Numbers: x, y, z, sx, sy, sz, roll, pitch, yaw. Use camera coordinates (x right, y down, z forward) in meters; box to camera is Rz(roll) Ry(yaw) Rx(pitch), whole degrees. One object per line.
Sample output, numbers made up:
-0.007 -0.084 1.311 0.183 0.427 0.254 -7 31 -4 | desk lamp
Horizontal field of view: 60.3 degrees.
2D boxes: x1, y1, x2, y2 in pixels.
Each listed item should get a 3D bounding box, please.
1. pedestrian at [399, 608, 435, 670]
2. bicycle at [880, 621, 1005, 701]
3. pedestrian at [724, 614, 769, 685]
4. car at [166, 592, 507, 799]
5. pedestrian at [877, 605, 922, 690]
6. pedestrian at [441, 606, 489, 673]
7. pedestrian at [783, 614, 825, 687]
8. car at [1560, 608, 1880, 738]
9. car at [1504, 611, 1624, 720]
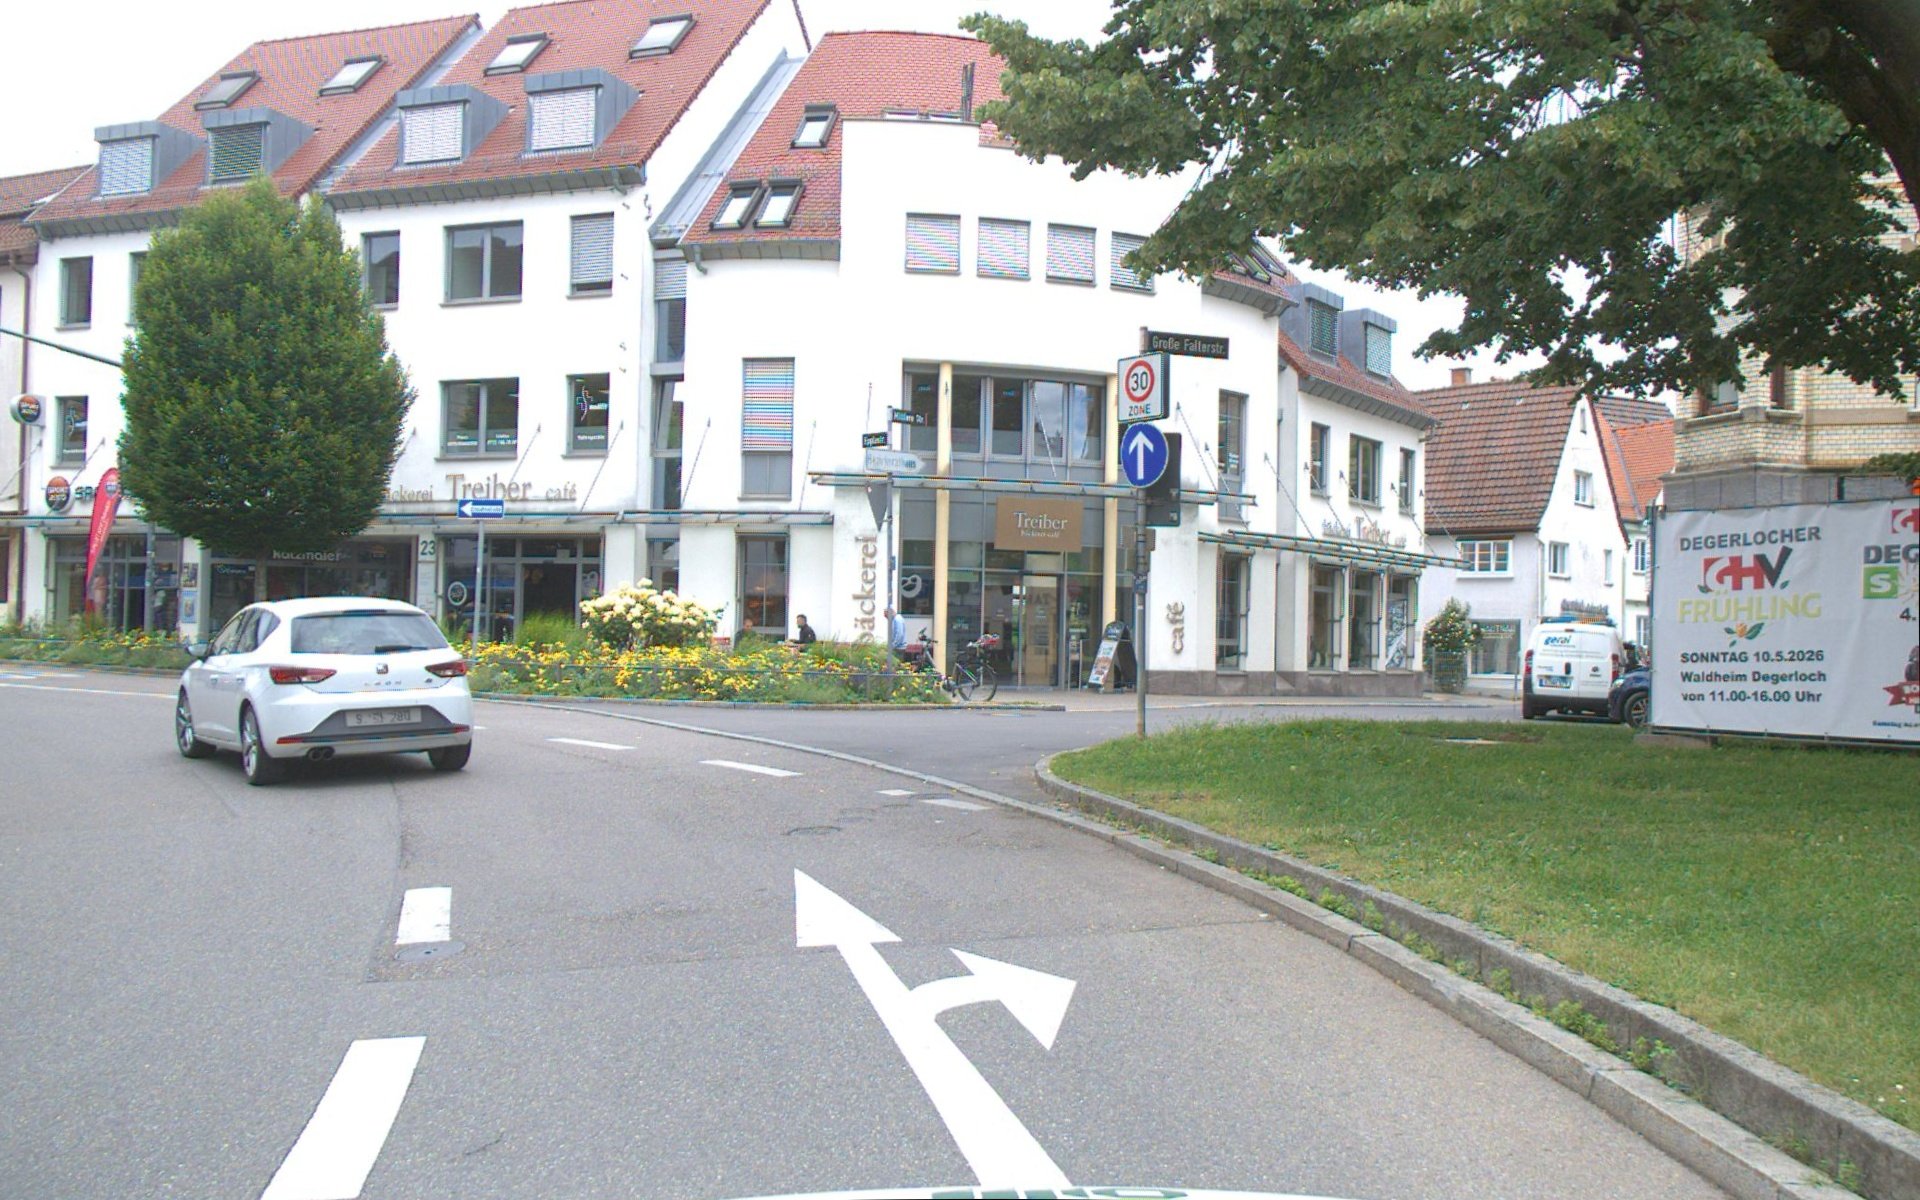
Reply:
-11.389 0.810 34.681 0.480 1.293 0.502 1 -1 21 | pedestrian
-0.298 1.004 27.734 1.933 1.261 0.744 1 0 20 | bicycle
-4.135 0.956 32.099 0.685 1.355 0.685 1 -1 8 | pedestrian
-5.582 0.718 14.508 1.829 1.459 3.950 1 1 -36 | car
-1.130 0.883 30.908 0.685 1.552 0.868 1 -1 8 | pedestrian
-10.233 0.820 34.192 0.555 1.341 0.764 1 -3 21 | pedestrian
-3.008 0.962 31.852 0.641 1.365 0.696 1 -1 8 | pedestrian
11.284 1.048 24.772 1.841 1.734 3.971 4 -2 -36 | car
11.274 1.196 30.718 1.789 1.824 4.216 1 -1 24 | car
